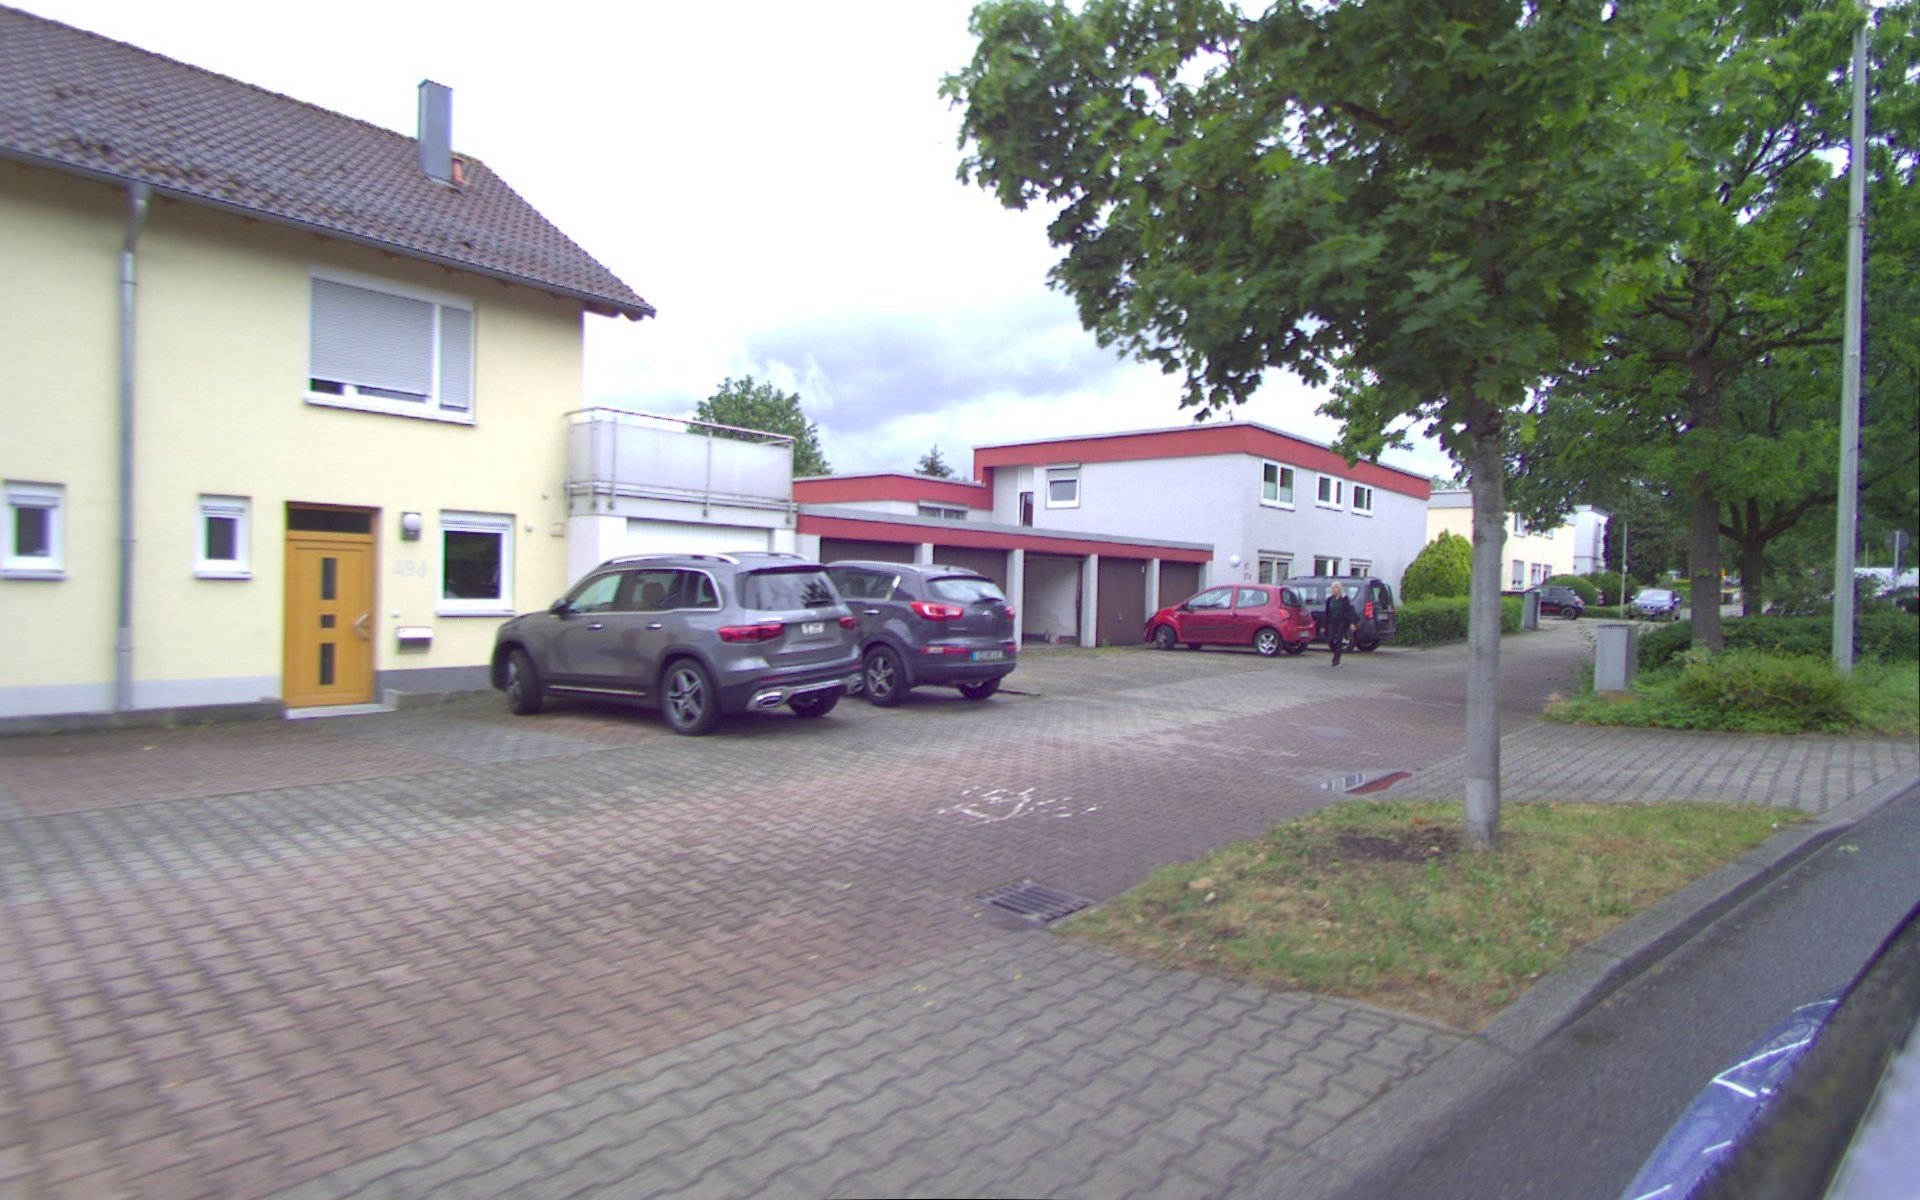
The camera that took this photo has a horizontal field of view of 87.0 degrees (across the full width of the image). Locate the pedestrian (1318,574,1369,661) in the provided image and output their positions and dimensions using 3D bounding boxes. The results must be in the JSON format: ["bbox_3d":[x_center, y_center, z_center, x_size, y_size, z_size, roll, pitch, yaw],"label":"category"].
[{"bbox_3d":[7.188,0.308,18.948,0.662,1.577,0.831,2,1,36],"label":"pedestrian"}]

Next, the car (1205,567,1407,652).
[{"bbox_3d":[7.920,0.151,23.331,3.983,1.742,1.896,2,2,41],"label":"car"}]

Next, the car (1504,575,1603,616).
[{"bbox_3d":[26.916,-0.210,45.932,3.607,1.551,1.737,6,4,39],"label":"car"}]

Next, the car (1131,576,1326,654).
[{"bbox_3d":[5.704,0.259,21.736,3.689,1.459,1.682,2,2,41],"label":"car"}]

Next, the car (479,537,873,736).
[{"bbox_3d":[-3.046,0.322,10.498,4.165,1.693,1.700,-1,0,35],"label":"car"}]

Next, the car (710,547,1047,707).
[{"bbox_3d":[-1.157,0.212,12.825,4.179,1.692,1.961,3,2,43],"label":"car"}]

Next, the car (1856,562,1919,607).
[{"bbox_3d":[45.753,-0.671,46.985,1.958,2.038,5.852,1,2,-24],"label":"car"}]

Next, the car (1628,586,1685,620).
[{"bbox_3d":[32.900,0.101,47.803,1.687,1.528,3.767,2,1,43],"label":"car"}]
